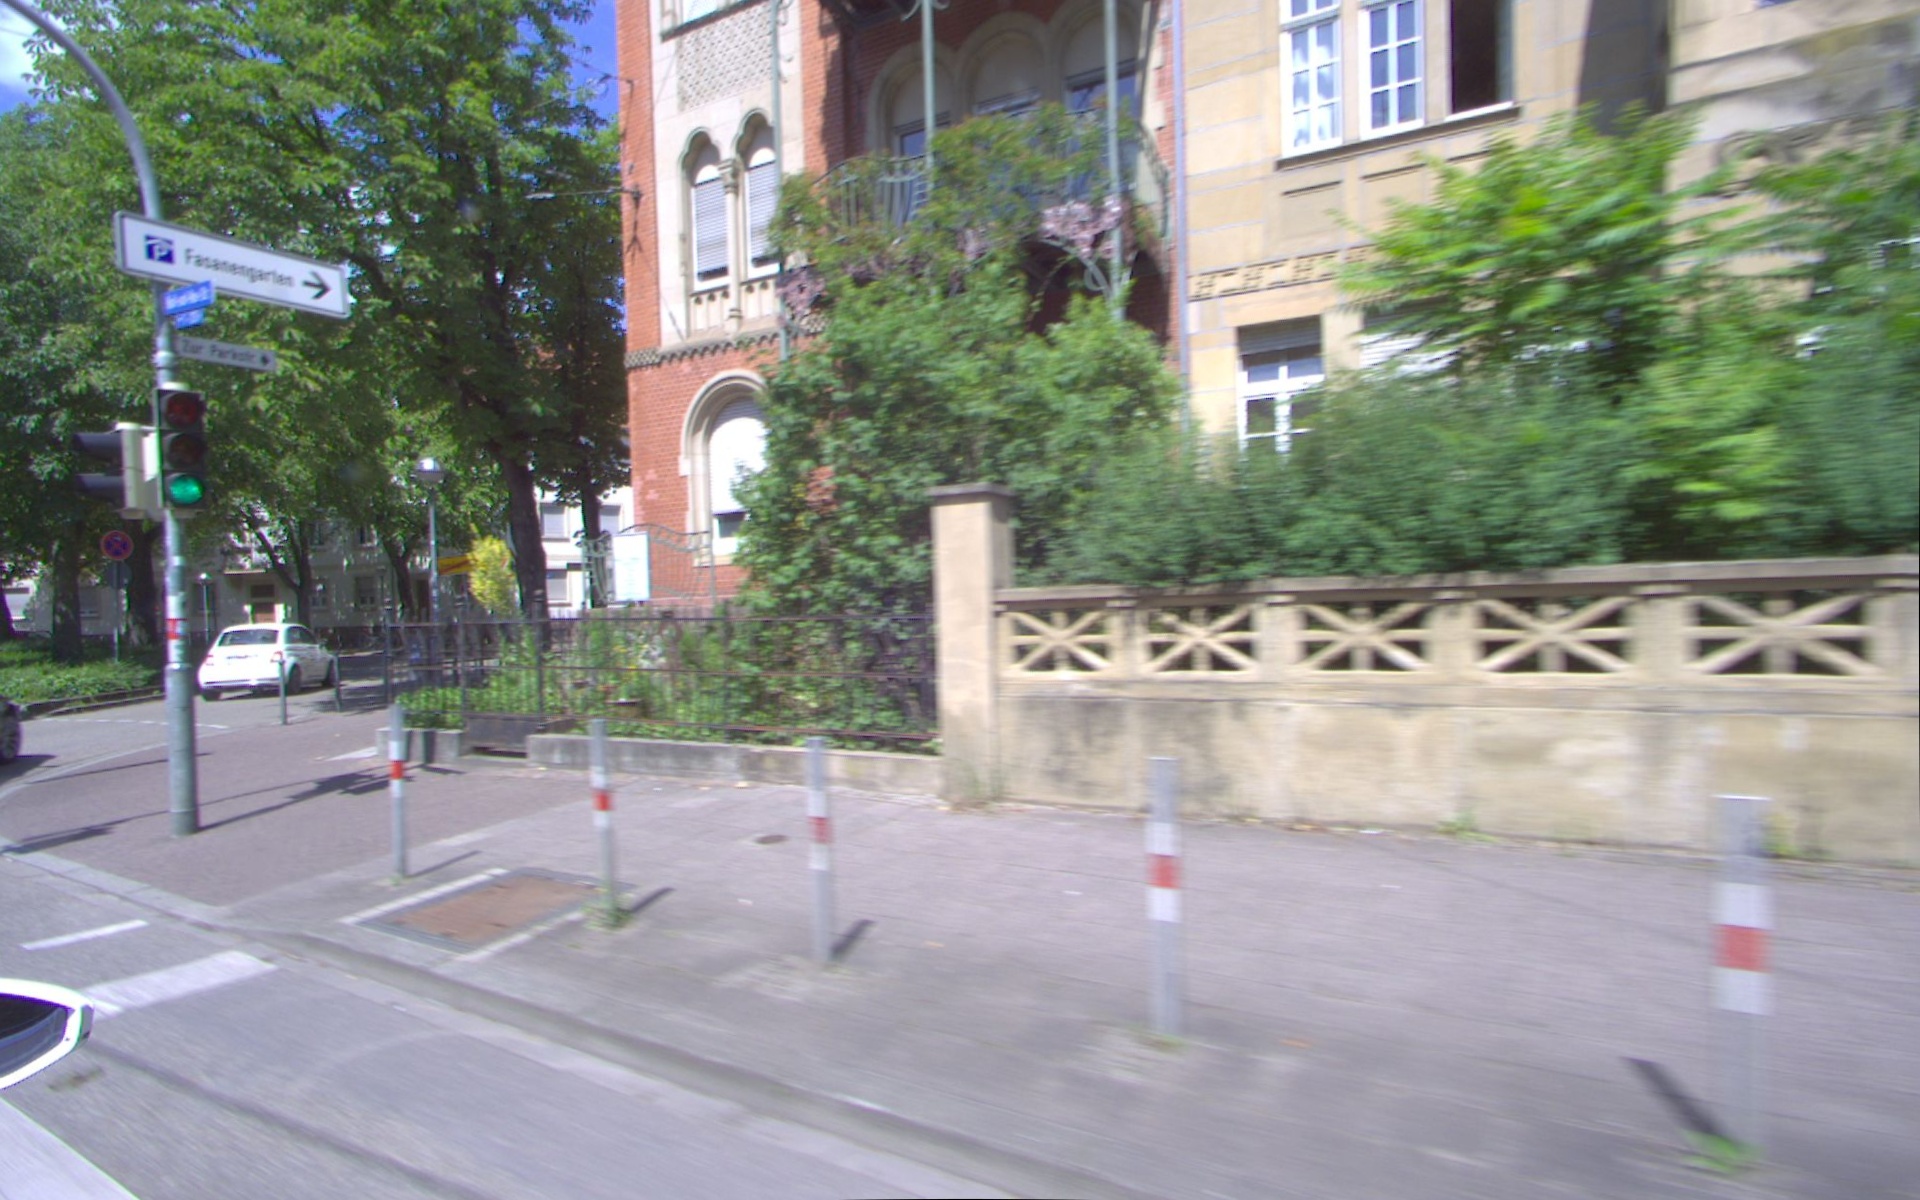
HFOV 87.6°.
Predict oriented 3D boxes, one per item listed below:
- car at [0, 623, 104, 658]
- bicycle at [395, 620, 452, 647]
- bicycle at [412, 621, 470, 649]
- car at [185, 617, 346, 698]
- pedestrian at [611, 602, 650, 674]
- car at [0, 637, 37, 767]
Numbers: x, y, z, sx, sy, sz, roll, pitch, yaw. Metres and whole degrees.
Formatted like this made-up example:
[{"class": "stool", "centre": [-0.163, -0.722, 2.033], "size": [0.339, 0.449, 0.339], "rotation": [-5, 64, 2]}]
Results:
[{"class": "car", "centre": [-38.588, 1.690, 41.665], "size": [4.255, 1.346, 1.792], "rotation": [-1, 0, -4]}, {"class": "bicycle", "centre": [-23.352, 1.436, 43.618], "size": [0.549, 1.072, 2.206], "rotation": [-1, 0, 29]}, {"class": "bicycle", "centre": [-22.001, 1.475, 42.489], "size": [0.644, 1.072, 2.208], "rotation": [-1, 0, 26]}, {"class": "car", "centre": [-14.724, 1.157, 21.453], "size": [1.660, 1.504, 3.678], "rotation": [-1, 0, -15]}, {"class": "pedestrian", "centre": [-7.417, 0.843, 22.573], "size": [0.736, 1.577, 0.800], "rotation": [-1, 1, -13]}, {"class": "car", "centre": [-10.822, 1.081, 9.767], "size": [1.704, 1.427, 4.542], "rotation": [1, -2, -30]}]
